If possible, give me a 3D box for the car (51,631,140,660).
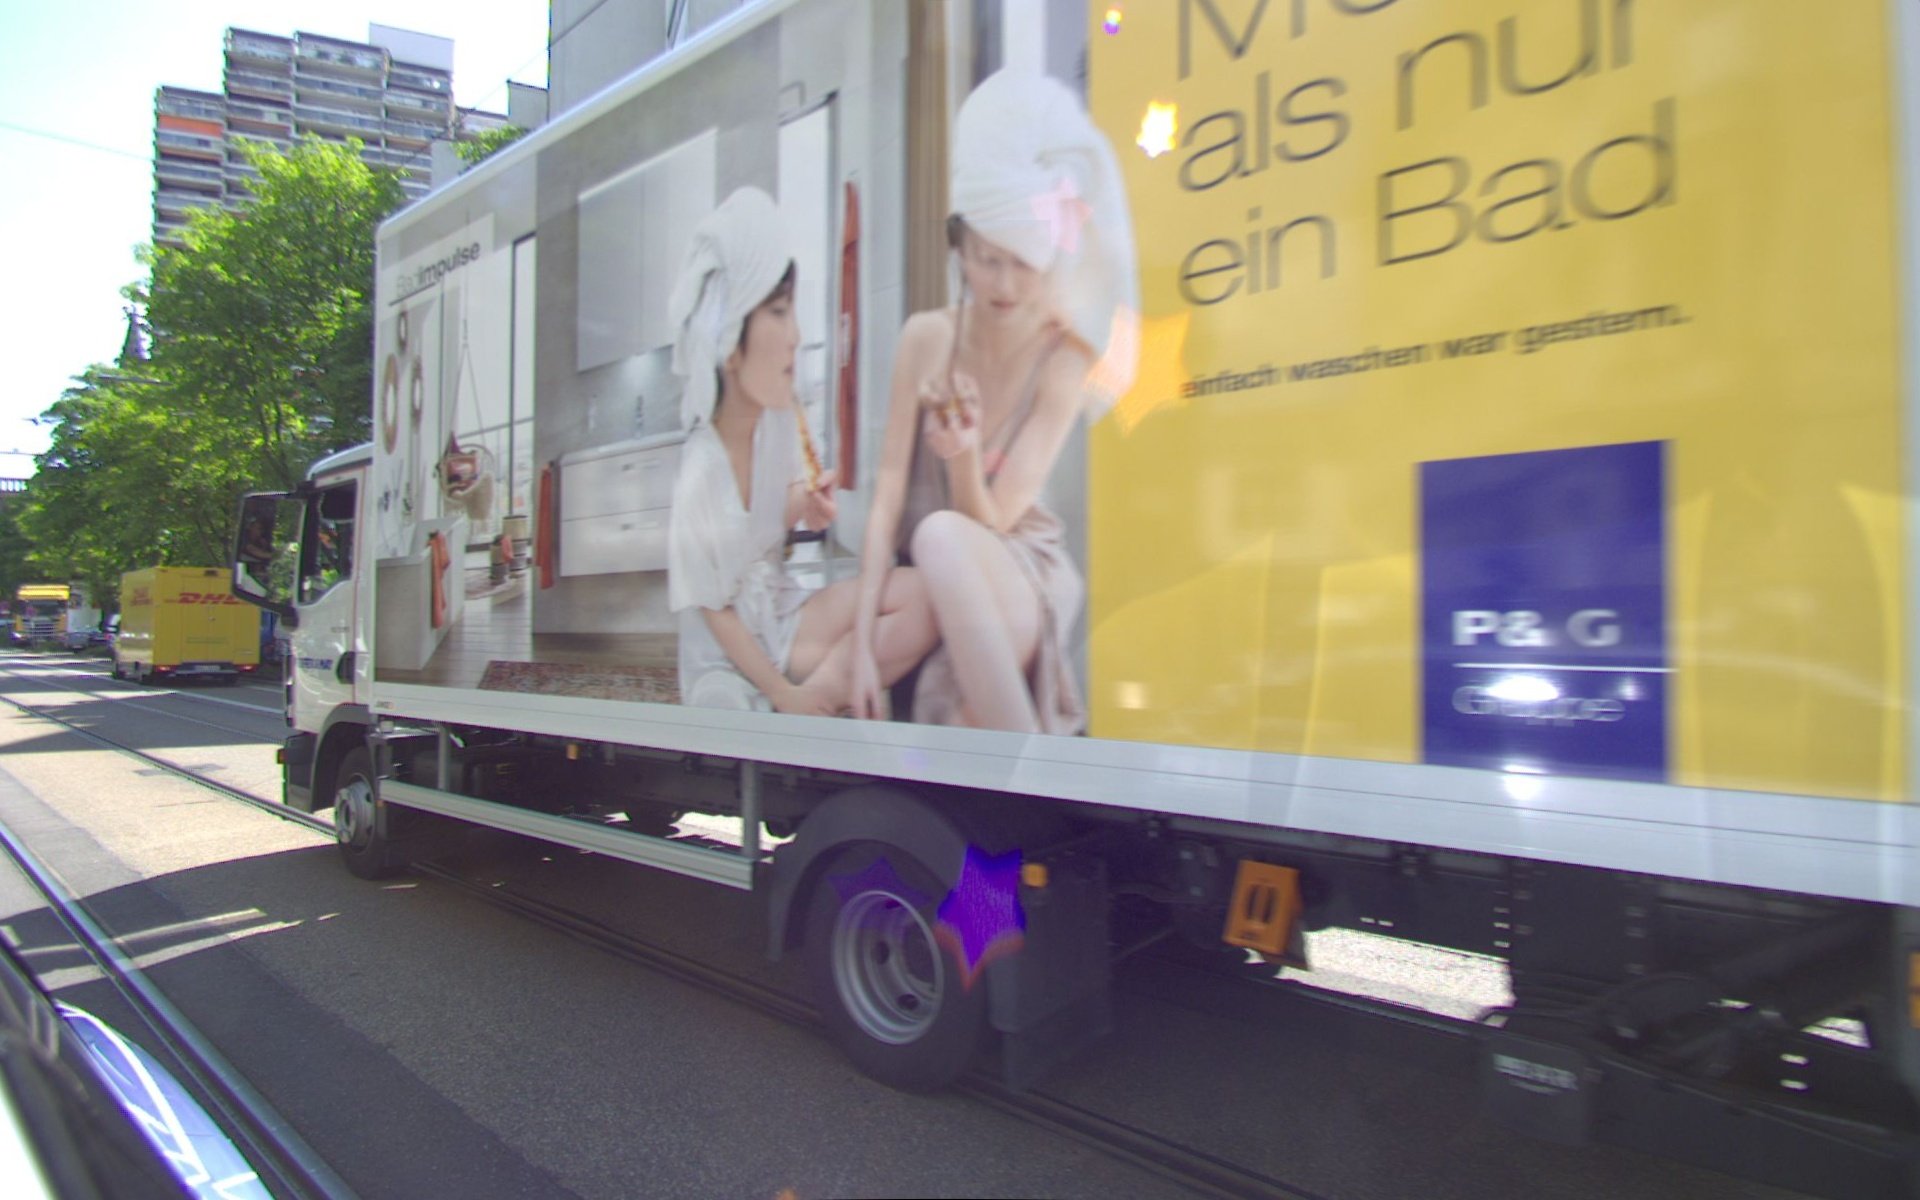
[{"bbox_3d":[-44.483,2.316,52.155,1.657,1.465,3.679,0,-2,-5],"label":"car"}]

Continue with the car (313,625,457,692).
[{"bbox_3d":[-14.652,1.452,26.025,1.658,1.587,3.685,1,-2,-2],"label":"car"}]

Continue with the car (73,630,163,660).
[{"bbox_3d":[-41.925,2.212,50.484,1.657,1.430,3.679,0,-2,-5],"label":"car"}]

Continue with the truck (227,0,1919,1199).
[{"bbox_3d":[-0.586,-0.255,4.971,8.245,3.647,2.758,-1,-2,39],"label":"truck"}]

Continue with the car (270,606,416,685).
[{"bbox_3d":[-17.164,1.255,28.407,1.580,2.058,4.051,0,-2,0],"label":"car"}]

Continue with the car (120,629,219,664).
[{"bbox_3d":[-34.185,1.980,43.874,1.657,1.465,3.679,0,-2,-5],"label":"car"}]

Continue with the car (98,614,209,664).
[{"bbox_3d":[-36.584,1.755,46.061,1.849,2.124,4.594,0,-2,-8],"label":"car"}]

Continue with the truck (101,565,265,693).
[{"bbox_3d":[-20.335,0.754,26.346,6.514,2.943,2.276,-2,-2,43],"label":"truck"}]

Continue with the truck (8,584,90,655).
[{"bbox_3d":[-58.528,1.321,65.228,2.633,4.212,10.498,1,-2,-35],"label":"truck"}]

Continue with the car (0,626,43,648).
[{"bbox_3d":[-80.613,3.091,85.568,1.977,1.821,4.318,0,-2,8],"label":"car"}]
